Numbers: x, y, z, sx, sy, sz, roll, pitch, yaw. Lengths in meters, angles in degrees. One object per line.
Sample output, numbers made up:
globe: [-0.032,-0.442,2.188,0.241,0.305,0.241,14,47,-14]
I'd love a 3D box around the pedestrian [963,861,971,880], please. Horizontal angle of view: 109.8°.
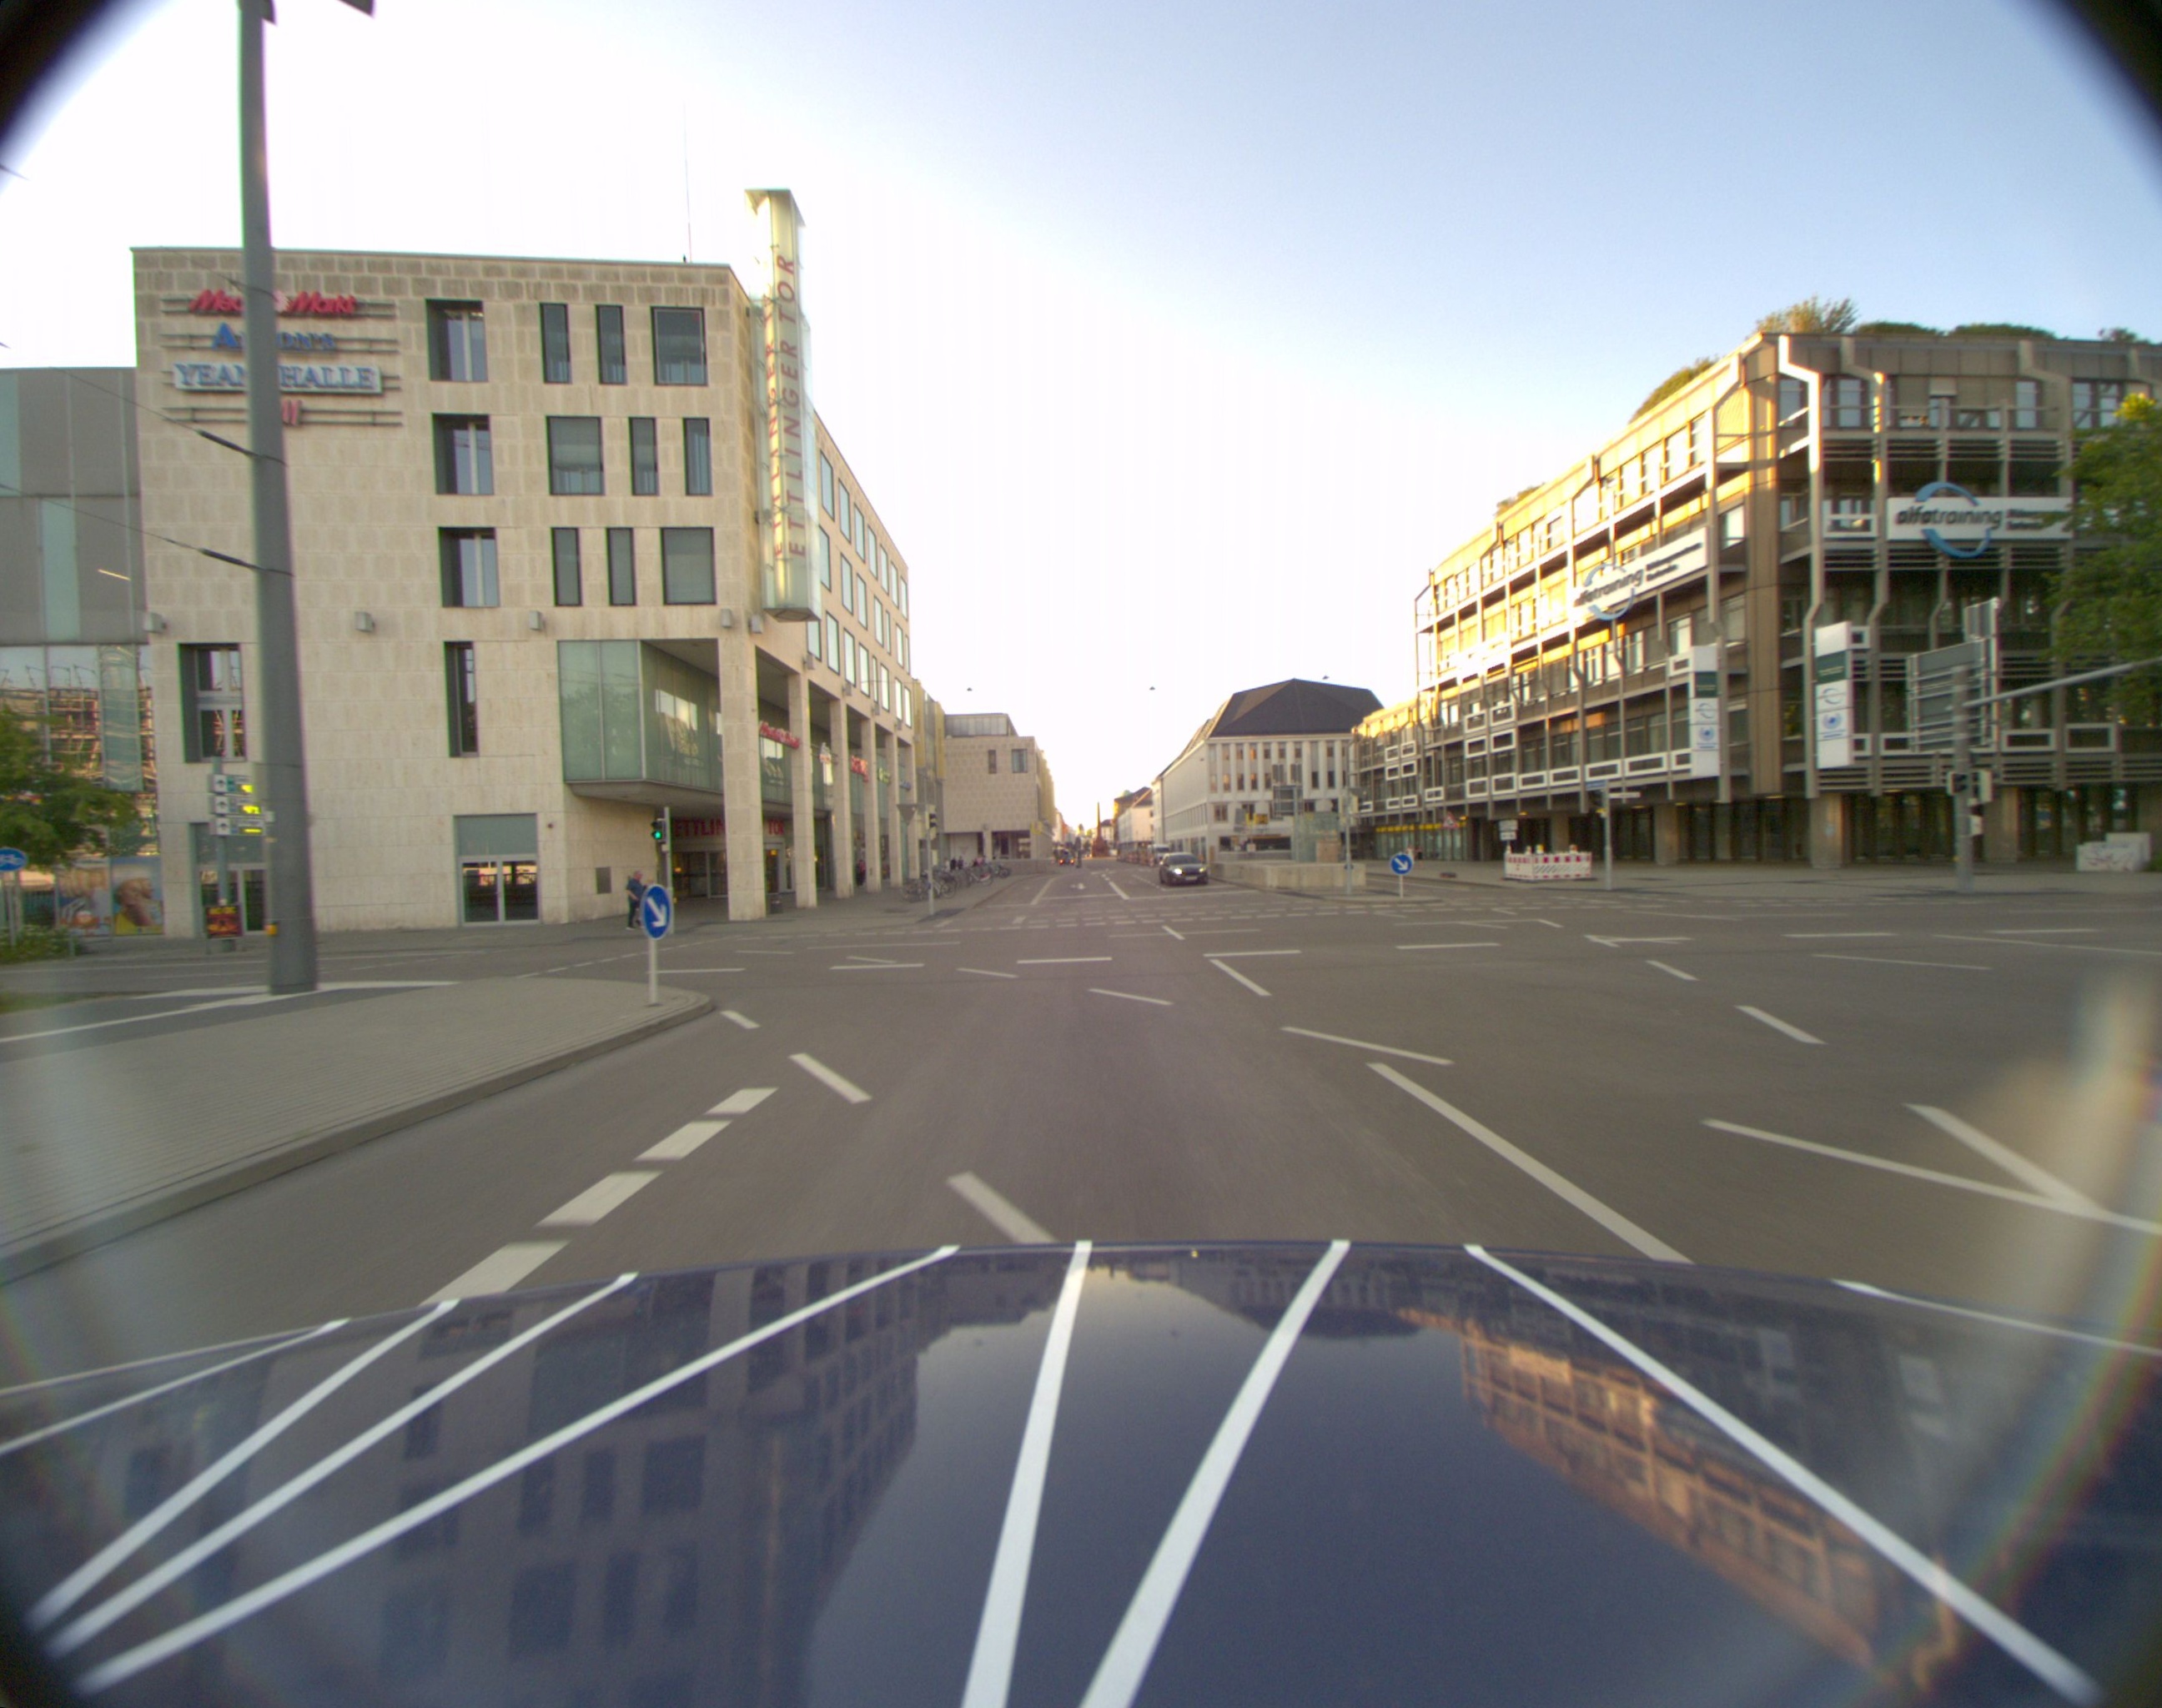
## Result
pedestrian: [-10.603,1.554,70.677,0.698,1.686,0.820,-2,1,-5]

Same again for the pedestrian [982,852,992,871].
pedestrian: [-9.011,0.714,72.816,0.793,1.734,0.941,-2,1,2]

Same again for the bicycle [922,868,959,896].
bicycle: [-6.204,1.220,33.597,1.483,1.177,0.548,-1,1,4]

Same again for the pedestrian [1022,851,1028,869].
pedestrian: [-5.396,0.547,73.112,0.455,1.734,0.492,-2,2,2]

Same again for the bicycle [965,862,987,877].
bicycle: [-7.137,1.041,51.628,1.345,0.927,0.518,-4,1,-2]

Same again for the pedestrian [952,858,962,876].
pedestrian: [-11.517,1.169,70.592,0.740,1.638,0.820,-2,1,-4]

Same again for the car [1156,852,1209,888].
car: [4.711,0.706,35.807,1.762,1.454,4.378,-3,1,-1]

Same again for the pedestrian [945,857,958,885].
pedestrian: [-7.877,1.047,46.264,0.708,1.682,0.629,-2,2,-8]

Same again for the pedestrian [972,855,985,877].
pedestrian: [-7.743,0.897,57.508,0.809,1.633,0.645,-2,2,-19]

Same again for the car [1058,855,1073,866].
car: [-2.079,0.849,104.292,1.798,1.365,3.670,-2,1,1]

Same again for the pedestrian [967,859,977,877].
pedestrian: [-10.436,1.323,72.694,0.793,1.734,0.656,-2,2,2]

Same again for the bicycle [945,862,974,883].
bicycle: [-7.176,1.094,44.870,1.518,1.118,0.580,-4,1,3]

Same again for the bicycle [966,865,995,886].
bicycle: [-5.729,1.216,43.382,1.518,1.057,0.466,-4,1,0]

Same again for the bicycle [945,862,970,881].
bicycle: [-7.744,1.104,47.537,1.447,1.059,0.580,-4,1,-11]

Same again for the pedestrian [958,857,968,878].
pedestrian: [-9.969,1.141,64.297,0.619,1.770,0.812,-2,1,2]

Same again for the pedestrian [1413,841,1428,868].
pedestrian: [21.365,0.017,47.824,0.616,1.630,0.702,-2,1,-1]

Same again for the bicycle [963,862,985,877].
bicycle: [-7.179,1.047,50.981,1.345,0.927,0.518,-4,1,-2]

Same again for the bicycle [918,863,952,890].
bicycle: [-7.442,1.142,38.827,1.519,1.220,0.618,-4,1,-1]

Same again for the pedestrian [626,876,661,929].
pedestrian: [-13.273,1.468,23.080,0.668,1.537,0.725,-2,1,-12]

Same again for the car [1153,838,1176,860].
car: [10.509,-0.669,96.404,2.142,2.541,6.048,-2,1,-1]

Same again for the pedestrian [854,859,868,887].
pedestrian: [-13.452,1.146,46.443,0.629,1.642,0.708,-2,1,0]

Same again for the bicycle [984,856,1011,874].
bicycle: [-6.010,0.815,54.821,1.838,1.140,0.466,-4,1,0]

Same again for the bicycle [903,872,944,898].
bicycle: [-7.102,1.396,34.308,1.774,1.072,0.482,-2,1,-8]

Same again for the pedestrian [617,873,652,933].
pedestrian: [-13.108,1.427,22.316,0.668,1.715,0.589,-2,1,-12]

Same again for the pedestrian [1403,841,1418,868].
pedestrian: [20.722,0.035,47.816,0.670,1.630,0.583,-2,2,-1]

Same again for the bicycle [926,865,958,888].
bicycle: [-7.403,1.187,40.447,1.519,1.099,0.552,-4,1,-3]

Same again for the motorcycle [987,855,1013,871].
motorcycle: [-6.471,0.721,60.574,2.007,1.217,0.480,-2,1,-4]

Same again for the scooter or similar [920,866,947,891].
scooter or similar: [-7.166,1.194,36.977,1.197,1.192,0.492,-2,1,-5]
